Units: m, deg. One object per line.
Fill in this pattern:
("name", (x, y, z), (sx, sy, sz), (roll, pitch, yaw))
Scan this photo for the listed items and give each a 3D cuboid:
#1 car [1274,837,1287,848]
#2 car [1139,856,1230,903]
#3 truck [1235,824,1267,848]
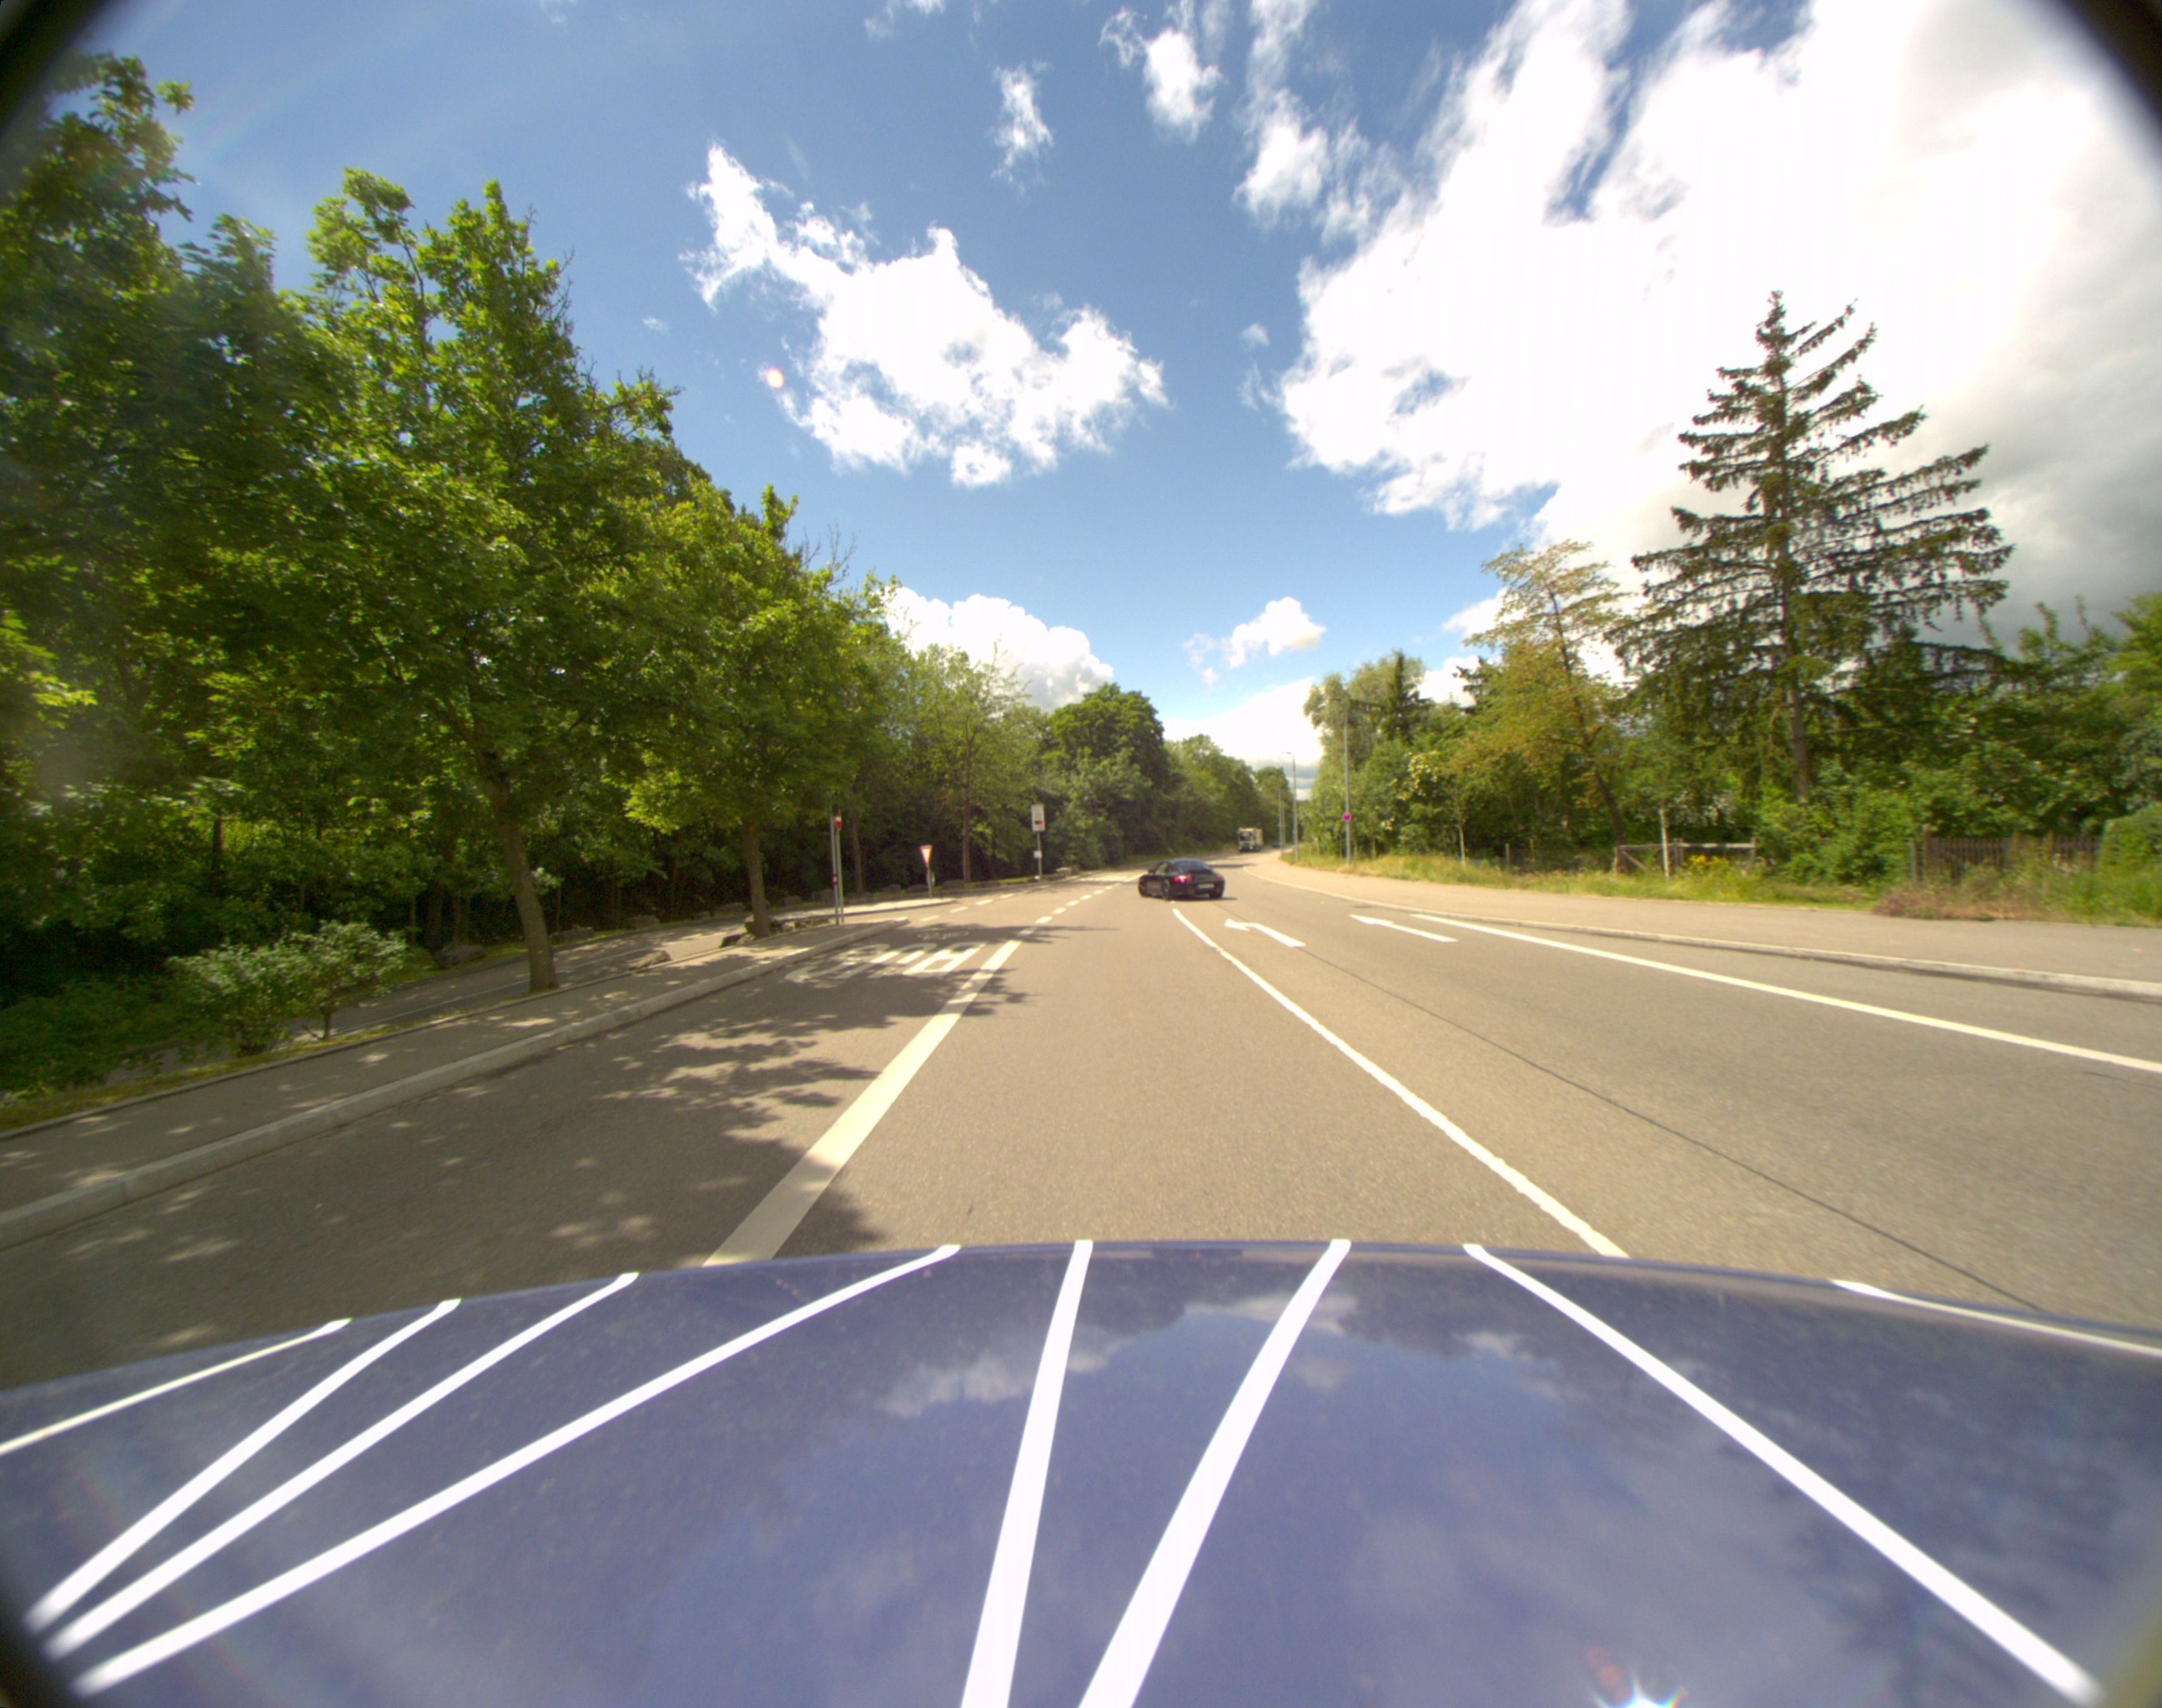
("car", (40.566, -2.347, 154.544), (1.995, 2.002, 4.005), (0, 2, 22))
("car", (3.255, 0.771, 24.668), (1.740, 1.293, 4.000), (-2, 1, -11))
("truck", (28.417, -3.066, 126.608), (3.235, 3.839, 9.887), (0, 2, 24))
